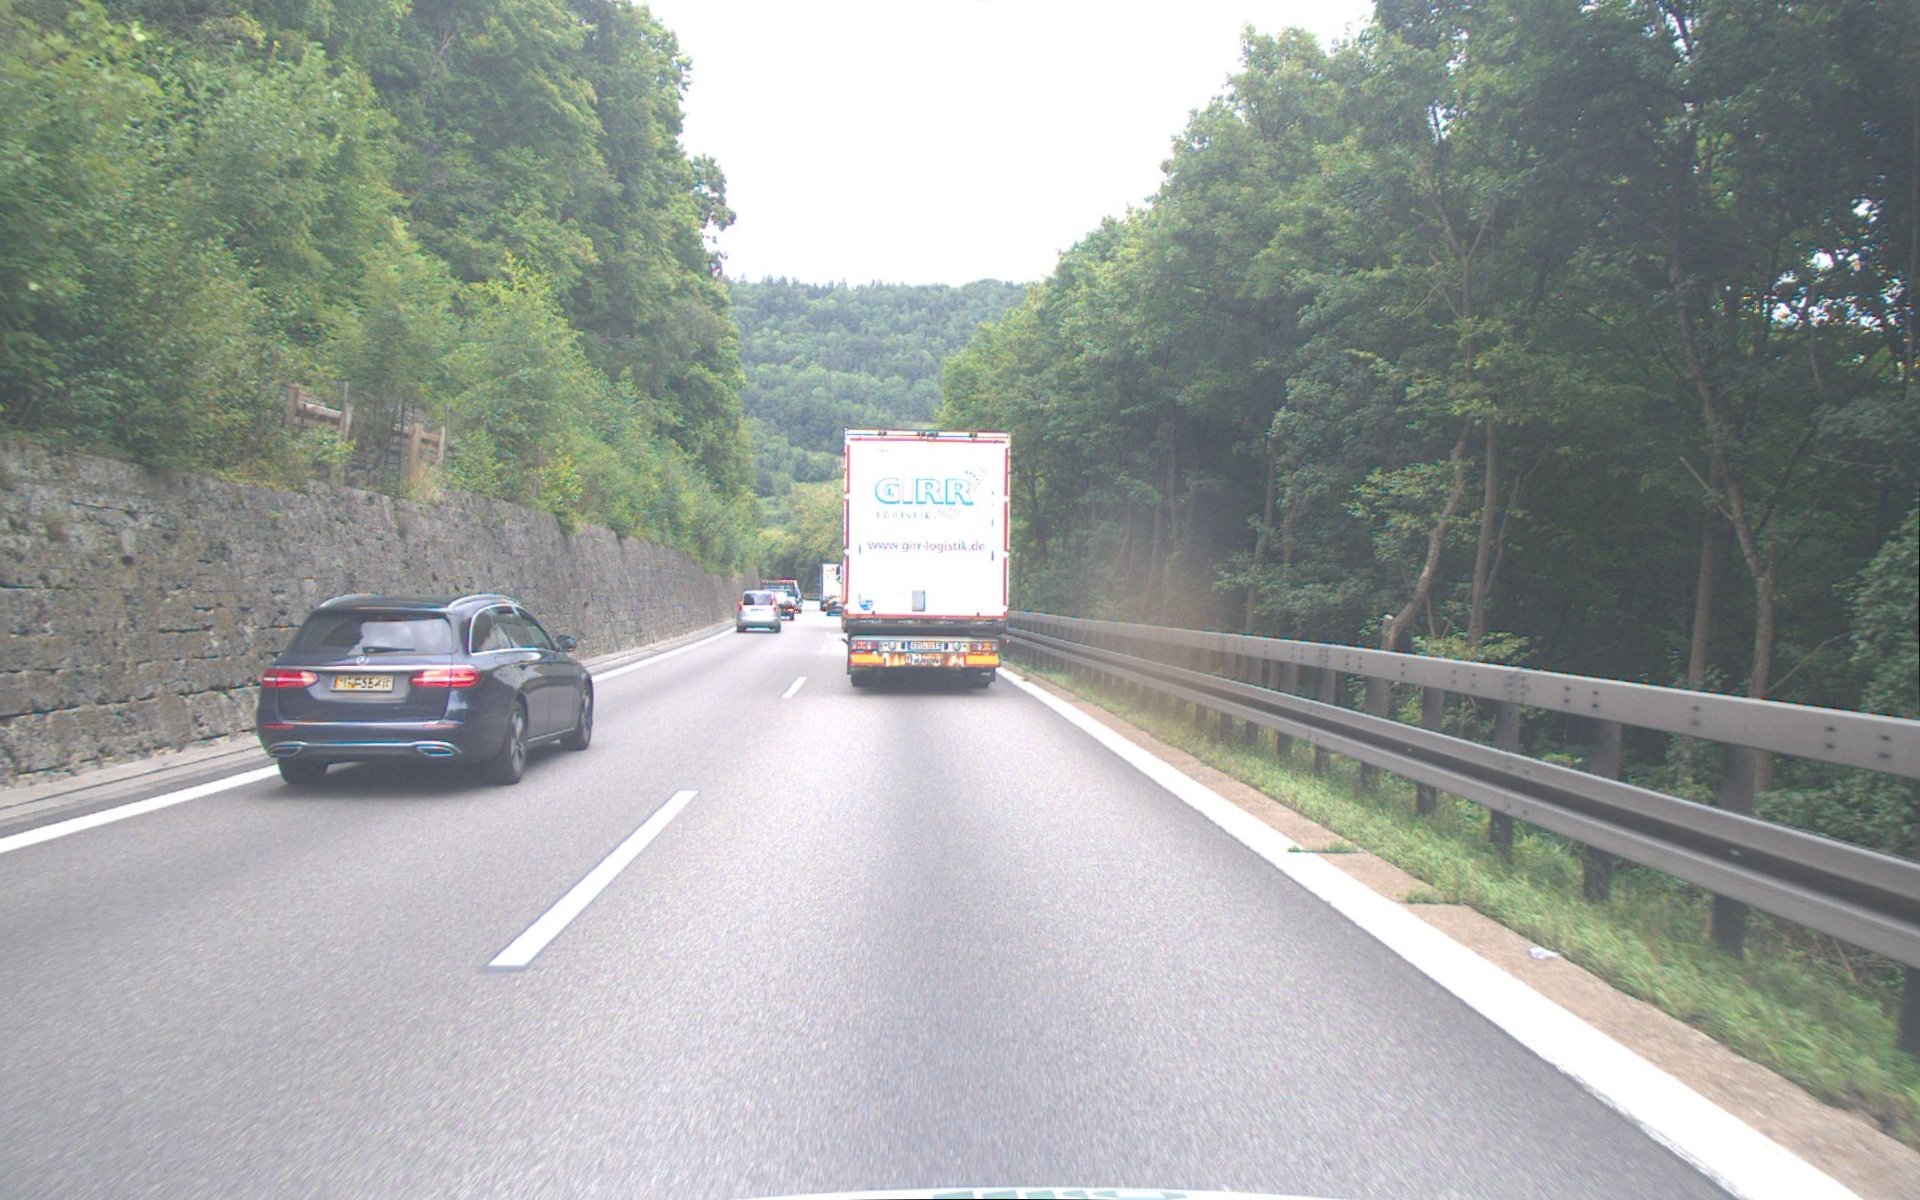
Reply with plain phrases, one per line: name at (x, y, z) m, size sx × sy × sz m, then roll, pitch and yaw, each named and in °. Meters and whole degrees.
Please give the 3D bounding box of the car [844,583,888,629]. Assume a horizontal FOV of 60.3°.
car at (-4.432, 0.290, 78.444) m, size 1.954 × 2.049 × 4.330 m, roll 3°, pitch -1°, yaw -3°

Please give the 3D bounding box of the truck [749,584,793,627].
truck at (-10.930, 0.324, 96.004) m, size 2.303 × 2.313 × 6.841 m, roll 3°, pitch 0°, yaw -5°

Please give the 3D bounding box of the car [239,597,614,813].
car at (-4.321, 0.747, 14.317) m, size 1.725 × 1.489 × 5.120 m, roll 1°, pitch 0°, yaw -2°

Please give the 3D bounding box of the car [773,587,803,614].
car at (-13.172, 0.031, 126.734) m, size 1.978 × 1.947 × 5.559 m, roll 3°, pitch 0°, yaw -4°

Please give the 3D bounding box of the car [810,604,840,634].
car at (-9.501, 1.334, 116.679) m, size 1.954 × 2.049 × 3.996 m, roll 3°, pitch -1°, yaw -4°

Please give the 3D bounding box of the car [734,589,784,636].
car at (-7.889, 0.492, 65.162) m, size 1.601 × 1.757 × 4.342 m, roll 2°, pitch 0°, yaw -3°

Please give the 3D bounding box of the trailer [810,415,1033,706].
trailer at (-0.897, -0.610, 29.300) m, size 3.072 × 4.112 × 9.431 m, roll 4°, pitch 0°, yaw -4°

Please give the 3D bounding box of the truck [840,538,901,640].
truck at (-3.619, -0.403, 67.353) m, size 2.189 × 3.870 × 6.819 m, roll 3°, pitch -1°, yaw -2°

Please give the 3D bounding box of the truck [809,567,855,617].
truck at (-10.928, -0.633, 140.487) m, size 3.012 × 3.945 × 8.440 m, roll 3°, pitch -1°, yaw -9°
